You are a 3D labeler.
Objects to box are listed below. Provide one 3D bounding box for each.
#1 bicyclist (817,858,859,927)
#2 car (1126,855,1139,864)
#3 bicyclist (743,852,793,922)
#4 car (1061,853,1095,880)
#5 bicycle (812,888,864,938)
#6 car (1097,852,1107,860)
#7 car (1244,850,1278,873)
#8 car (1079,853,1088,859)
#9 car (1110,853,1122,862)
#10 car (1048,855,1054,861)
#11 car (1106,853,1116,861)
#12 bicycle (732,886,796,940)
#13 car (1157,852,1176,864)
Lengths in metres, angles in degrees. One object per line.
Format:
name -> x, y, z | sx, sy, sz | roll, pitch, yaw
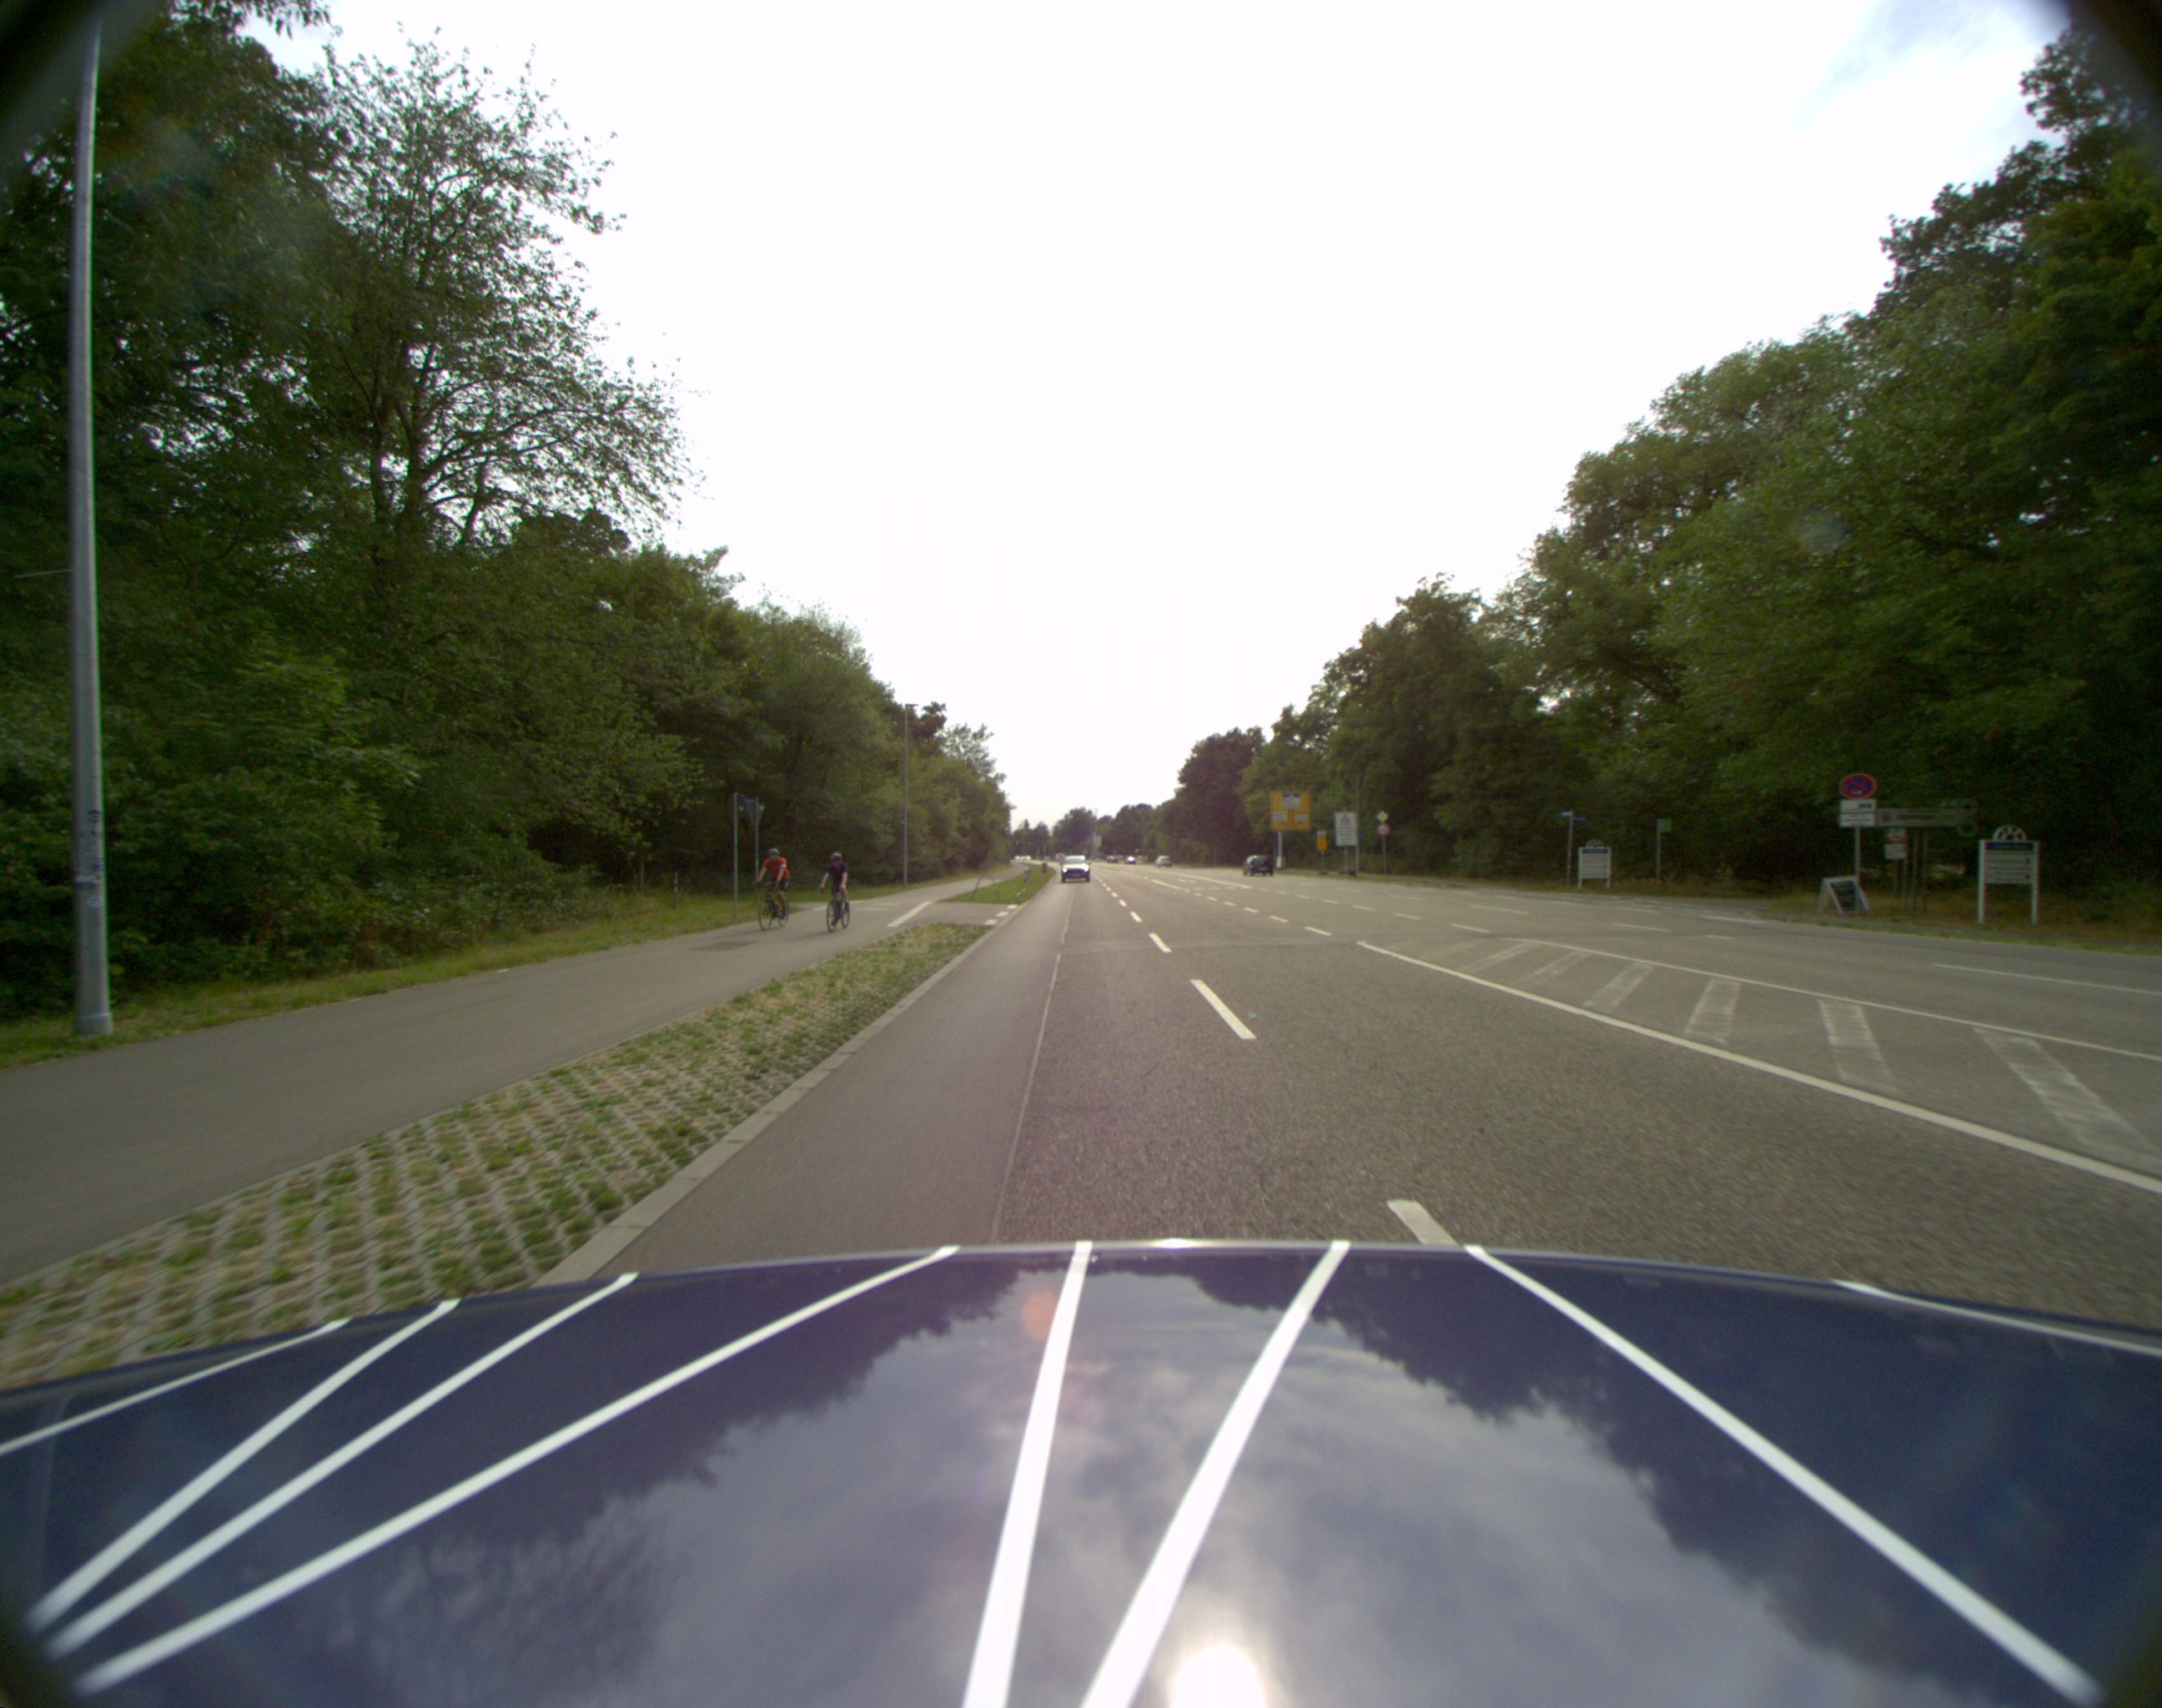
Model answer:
bicyclist -> -5.204, 0.800, 16.321 | 0.521, 1.407, 1.186 | -1, 1, -1
car -> 10.811, 1.136, 159.355 | 1.999, 1.585, 3.997 | -3, 1, -6
bicyclist -> -6.610, 0.666, 16.074 | 0.521, 1.407, 1.186 | -2, 1, -1
car -> -0.249, 0.754, 49.578 | 1.999, 1.565, 3.999 | -3, 1, -2
bicycle -> -5.203, 1.238, 16.335 | 0.567, 0.906, 1.754 | 2, 1, -1
car -> 5.578, 0.594, 199.516 | 1.999, 2.002, 3.998 | -3, 1, -5
car -> 13.057, 0.529, 55.283 | 1.745, 1.467, 4.001 | -3, 1, 5
car -> 0.704, 0.612, 206.413 | 2.000, 1.641, 3.997 | -1, 0, -7
car -> 8.137, 0.783, 178.005 | 2.000, 1.871, 3.997 | -3, 1, -7
car -> -10.097, 1.317, 255.672 | 1.999, 1.718, 3.998 | -1, 0, -5
car -> 7.493, 0.806, 189.505 | 1.999, 1.871, 3.998 | -3, 1, -3
bicycle -> -6.615, 1.209, 15.952 | 0.567, 0.906, 1.886 | 2, 2, -1
car -> 11.880, 0.513, 105.694 | 1.940, 1.492, 4.590 | -3, 1, -1
